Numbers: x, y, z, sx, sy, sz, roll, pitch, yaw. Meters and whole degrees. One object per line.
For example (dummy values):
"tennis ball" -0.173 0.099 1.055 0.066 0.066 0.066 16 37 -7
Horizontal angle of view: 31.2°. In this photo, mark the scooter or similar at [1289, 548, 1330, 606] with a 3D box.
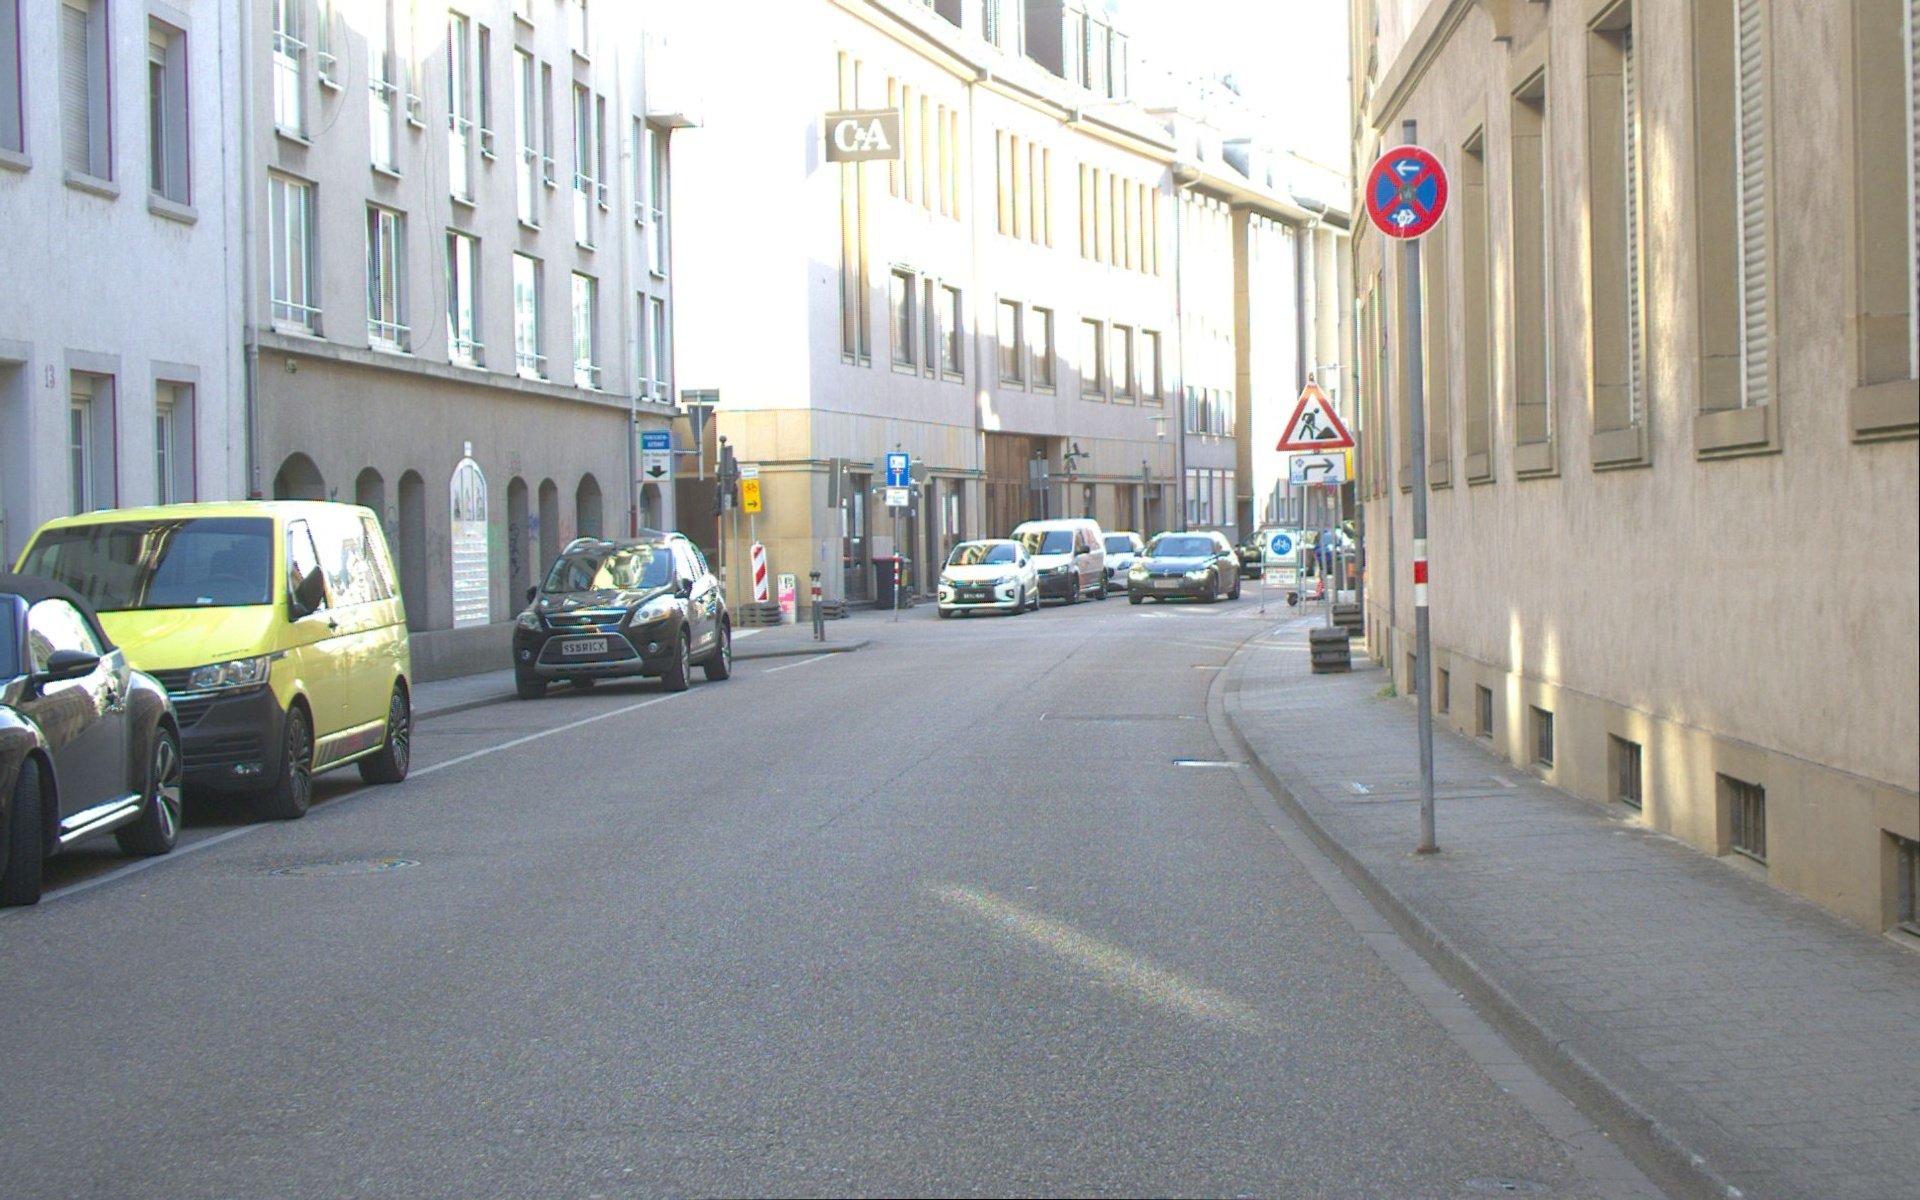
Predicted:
"scooter or similar" 6.997 -0.463 68.772 0.771 1.132 0.269 2 1 10

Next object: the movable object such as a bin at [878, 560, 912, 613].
"movable object such as a bin" -1.321 -0.271 69.781 0.609 1.057 0.713 1 1 5

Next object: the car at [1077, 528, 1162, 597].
"car" 3.726 -0.882 80.079 1.272 1.501 3.400 -2 1 14

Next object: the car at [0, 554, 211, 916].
"car" -4.914 0.589 16.120 1.819 1.481 4.077 -4 1 0

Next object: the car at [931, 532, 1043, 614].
"car" 0.564 -0.555 68.356 1.671 1.501 3.793 -2 1 8

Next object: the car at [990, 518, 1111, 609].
"car" 1.988 -0.809 74.076 1.671 1.812 4.549 -2 1 13

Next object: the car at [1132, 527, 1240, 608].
"car" 4.628 -0.680 70.824 1.714 1.572 4.191 -1 1 -3

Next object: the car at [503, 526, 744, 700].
"car" -3.652 0.089 37.983 1.740 1.705 4.190 -3 1 6

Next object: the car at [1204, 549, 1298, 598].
"car" 8.501 -0.787 100.165 1.883 1.327 4.097 -1 1 17

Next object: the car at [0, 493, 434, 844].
"car" -4.744 0.348 21.518 1.880 1.860 4.864 -4 1 2
